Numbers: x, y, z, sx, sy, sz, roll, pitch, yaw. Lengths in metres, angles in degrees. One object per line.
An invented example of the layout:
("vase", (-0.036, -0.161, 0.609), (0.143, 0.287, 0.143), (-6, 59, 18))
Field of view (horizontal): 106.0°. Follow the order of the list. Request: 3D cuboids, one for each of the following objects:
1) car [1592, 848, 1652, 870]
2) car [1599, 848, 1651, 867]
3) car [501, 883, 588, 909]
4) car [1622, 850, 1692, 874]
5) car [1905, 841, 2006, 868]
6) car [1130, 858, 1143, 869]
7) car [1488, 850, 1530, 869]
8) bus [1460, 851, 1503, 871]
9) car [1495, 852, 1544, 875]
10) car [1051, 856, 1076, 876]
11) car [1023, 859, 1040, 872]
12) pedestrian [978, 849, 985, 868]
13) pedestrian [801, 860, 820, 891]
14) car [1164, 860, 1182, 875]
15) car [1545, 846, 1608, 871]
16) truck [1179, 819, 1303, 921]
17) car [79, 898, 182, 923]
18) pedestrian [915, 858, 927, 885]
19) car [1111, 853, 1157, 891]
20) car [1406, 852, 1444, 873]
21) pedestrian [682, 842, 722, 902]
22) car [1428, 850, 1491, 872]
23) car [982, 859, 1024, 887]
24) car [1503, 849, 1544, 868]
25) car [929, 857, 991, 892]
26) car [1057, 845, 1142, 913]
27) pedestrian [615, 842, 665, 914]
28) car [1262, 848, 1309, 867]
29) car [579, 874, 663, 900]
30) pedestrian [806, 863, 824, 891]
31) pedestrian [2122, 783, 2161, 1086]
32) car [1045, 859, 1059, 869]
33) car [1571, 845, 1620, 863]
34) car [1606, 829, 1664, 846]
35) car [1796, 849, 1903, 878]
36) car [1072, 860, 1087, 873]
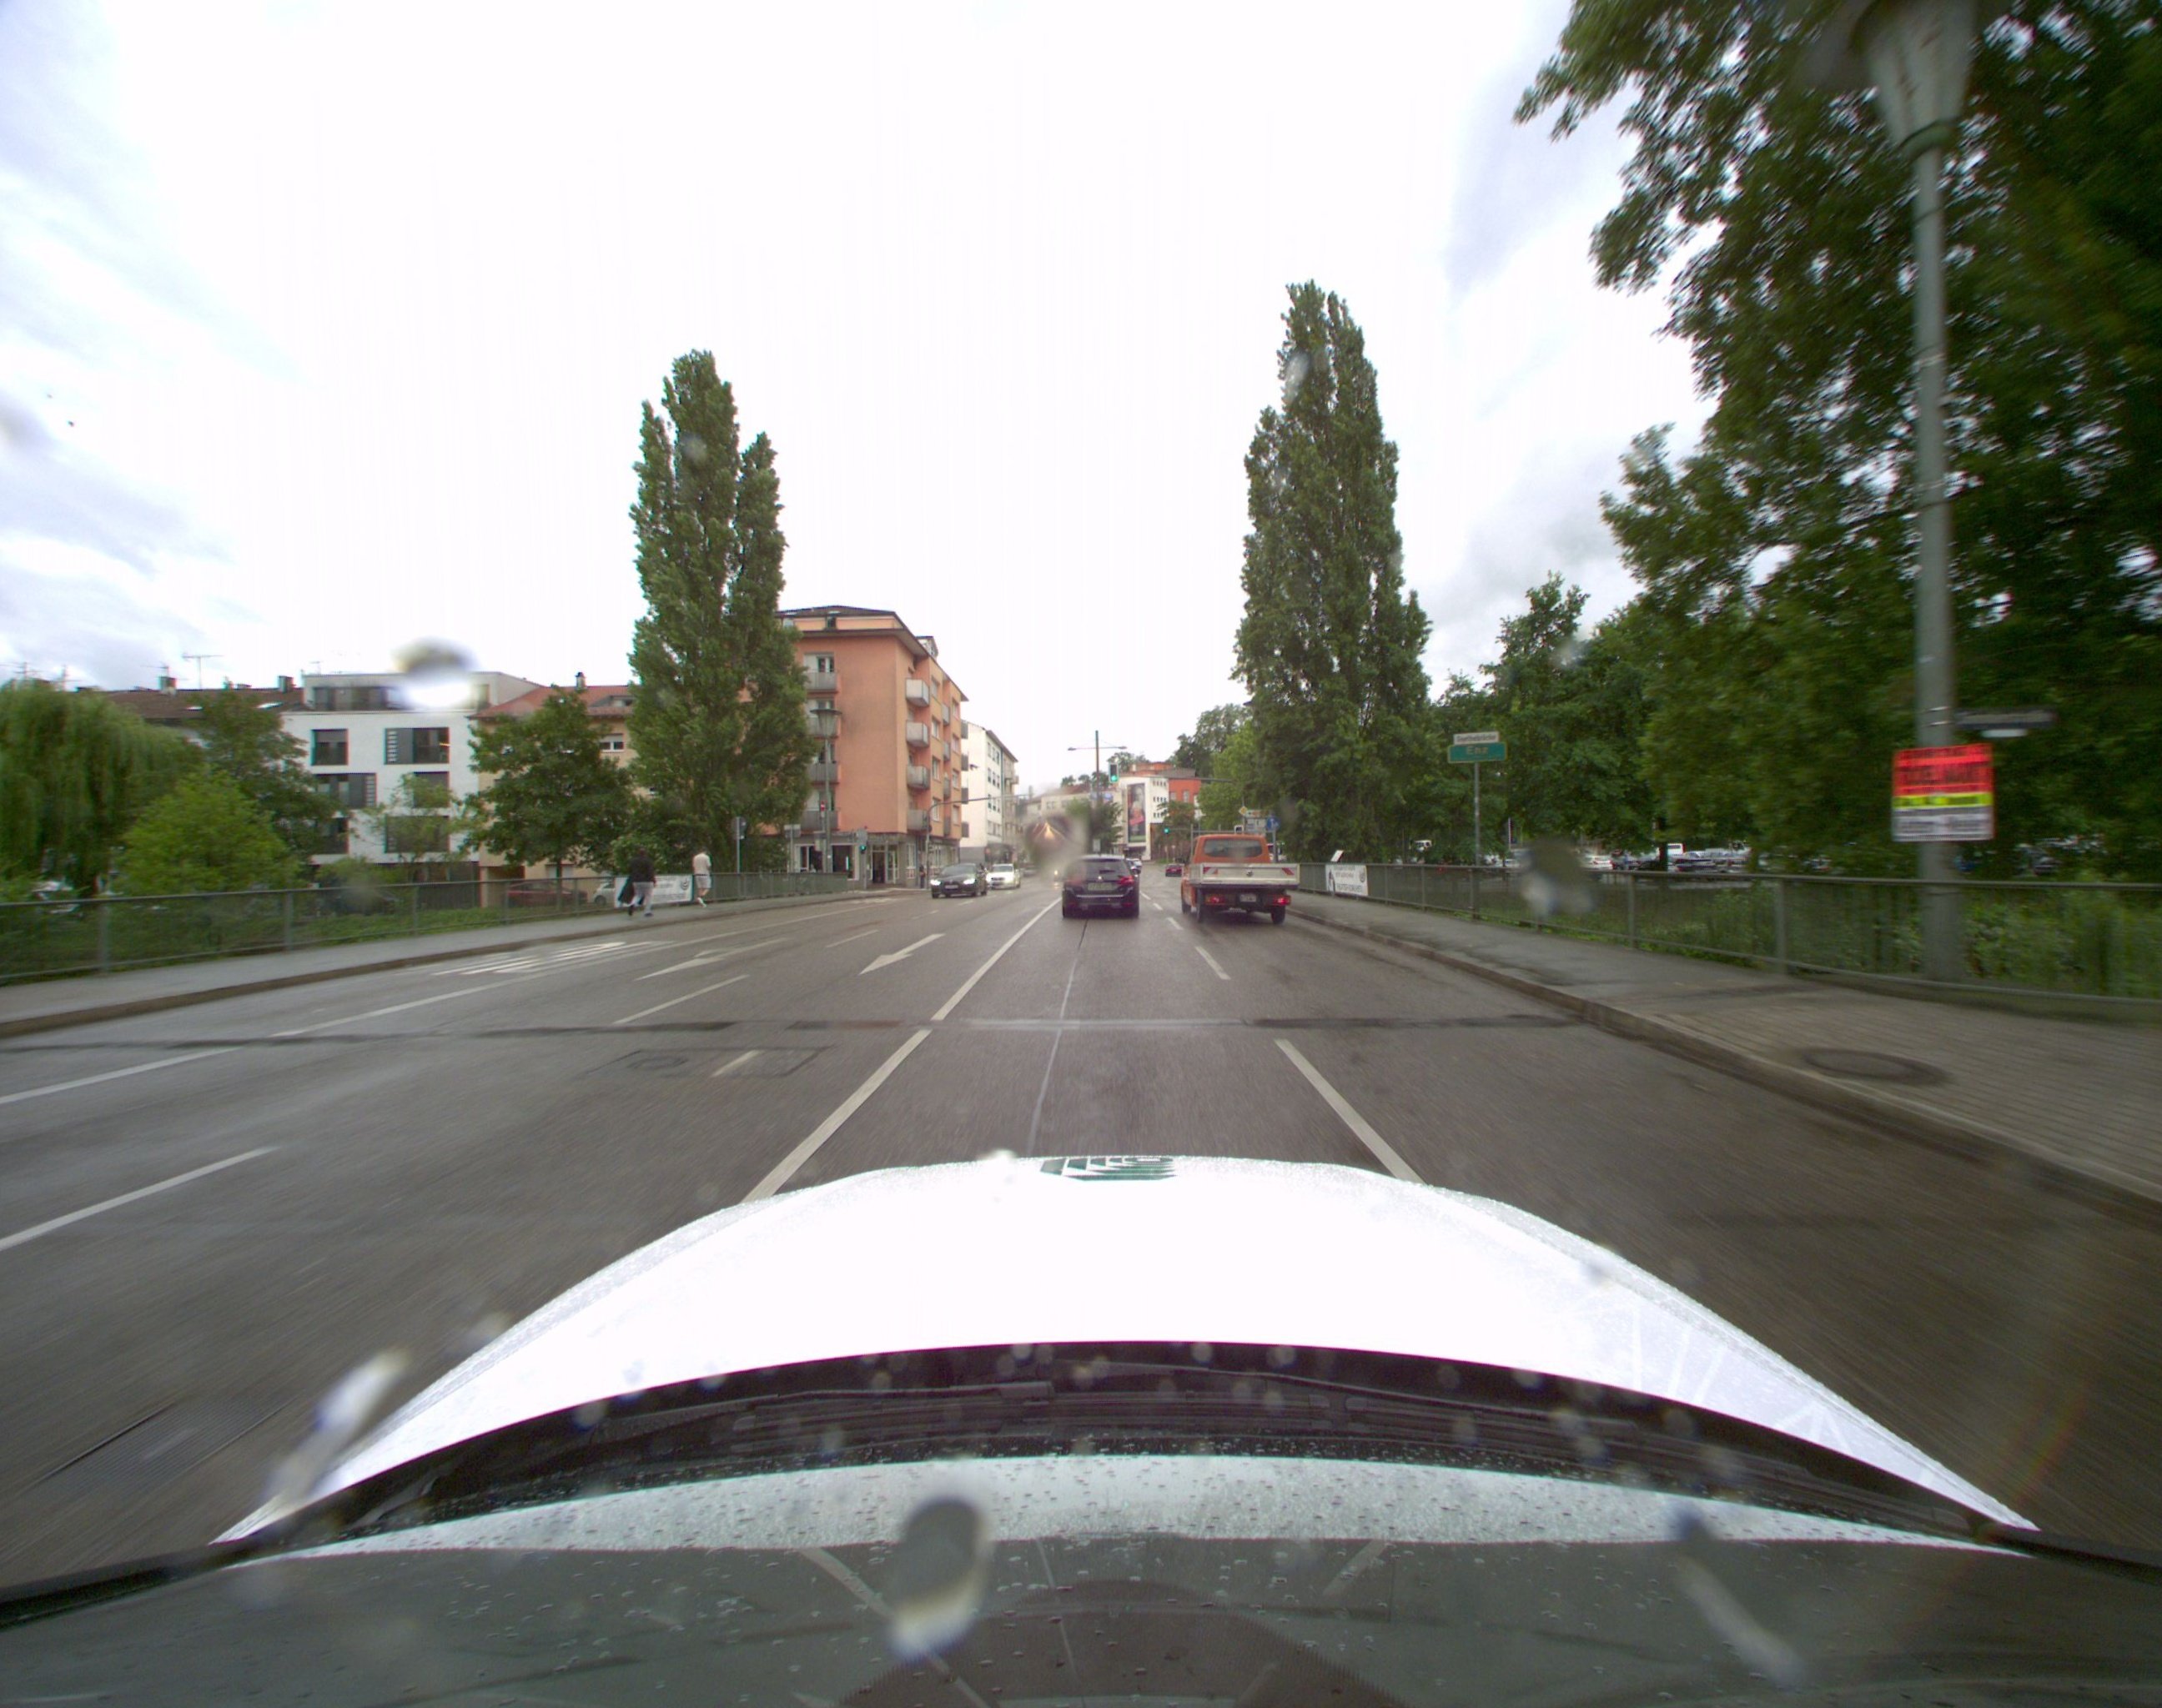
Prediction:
("car", (43.628, 0.427, 65.781), (1.923, 1.757, 4.596), (0, -1, 1))
("car", (47.619, 0.318, 71.361), (1.799, 1.550, 4.203), (0, -1, 1))
("car", (-32.186, 2.507, 48.902), (3.971, 1.388, 1.900), (-1, 0, 2))
("car", (38.610, 0.530, 54.725), (1.795, 1.590, 4.015), (-1, 0, -1))
("car", (58.619, 0.042, 54.696), (1.923, 1.757, 4.596), (0, -1, 1))
("car", (8.836, 1.500, 129.805), (1.986, 1.821, 4.002), (0, 0, 2))
("car", (37.142, 0.488, 70.821), (1.811, 1.651, 4.006), (0, -1, 5))
("bus", (34.358, 0.600, 69.976), (1.984, 1.723, 4.005), (0, -1, 4))
("car", (35.151, 0.741, 65.360), (1.795, 1.764, 3.945), (-1, 0, -1))
("car", (-1.415, 0.977, 67.688), (1.730, 1.601, 3.921), (-3, 0, 2))
("car", (-6.177, 1.456, 102.703), (1.770, 1.525, 3.662), (-1, 0, 1))
("pedestrian", (-10.216, 0.469, 83.567), (0.637, 1.861, 0.524), (0, 0, 0))
("pedestrian", (-14.629, 1.173, 44.060), (0.789, 1.663, 0.625), (-4, -3, 37))
("car", (10.550, 1.559, 93.916), (1.640, 1.564, 3.598), (2, -2, -1))
("car", (36.262, 0.346, 59.692), (1.795, 1.764, 4.585), (-1, 0, -1))
("truck", (3.463, 0.301, 18.523), (2.113, 2.025, 4.719), (0, 0, 3))
("car", (-56.797, 3.380, 48.707), (3.971, 1.388, 1.900), (0, -1, 2))
("pedestrian", (-10.135, 1.102, 51.547), (0.528, 1.727, 0.650), (-1, 0, 6))
("car", (2.315, 0.728, 34.778), (1.786, 1.483, 4.005), (-1, 0, 5))
("car", (29.676, 0.721, 70.344), (1.591, 1.651, 3.633), (-2, -1, -3))
("pedestrian", (-11.561, 0.533, 24.860), (0.793, 1.794, 0.813), (0, -1, 4))
("car", (29.890, 0.539, 64.365), (4.110, 1.621, 1.805), (-1, 0, -2))
("car", (-4.659, 1.126, 49.399), (1.829, 1.510, 4.823), (-1, 0, 2))
("car", (39.829, 0.404, 73.340), (1.811, 1.651, 4.006), (0, -1, 5))
("car", (-5.008, 0.822, 34.169), (1.785, 1.325, 4.408), (-1, 0, 1))
("car", (0.549, 0.572, 19.846), (1.786, 1.483, 4.005), (0, -1, 5))
("pedestrian", (-11.231, 0.605, 20.749), (0.695, 1.794, 0.960), (0, -1, 5))
("car", (18.930, 0.304, 75.423), (3.968, 1.650, 1.920), (1, 0, 5))
("car", (-27.675, 1.975, 49.078), (3.971, 1.388, 1.900), (-2, -1, 2))
("pedestrian", (-14.076, 1.216, 43.112), (0.650, 1.445, 0.798), (-2, -2, -3))
("pedestrian", (6.214, 0.434, 4.320), (0.637, 1.664, 0.563), (-2, 1, 1))
("car", (-4.311, 1.516, 121.653), (1.659, 1.400, 3.878), (-2, 0, 1))
("car", (45.118, 0.027, 71.511), (1.799, 1.550, 4.203), (0, -1, 1))
("car", (63.232, -1.865, 93.042), (5.269, 1.757, 1.947), (-1, -1, 25))
("car", (42.292, 0.535, 44.910), (3.967, 1.546, 1.894), (0, -1, 6))
("car", (-0.144, 1.529, 99.890), (1.647, 1.450, 3.545), (-3, -1, 3))
